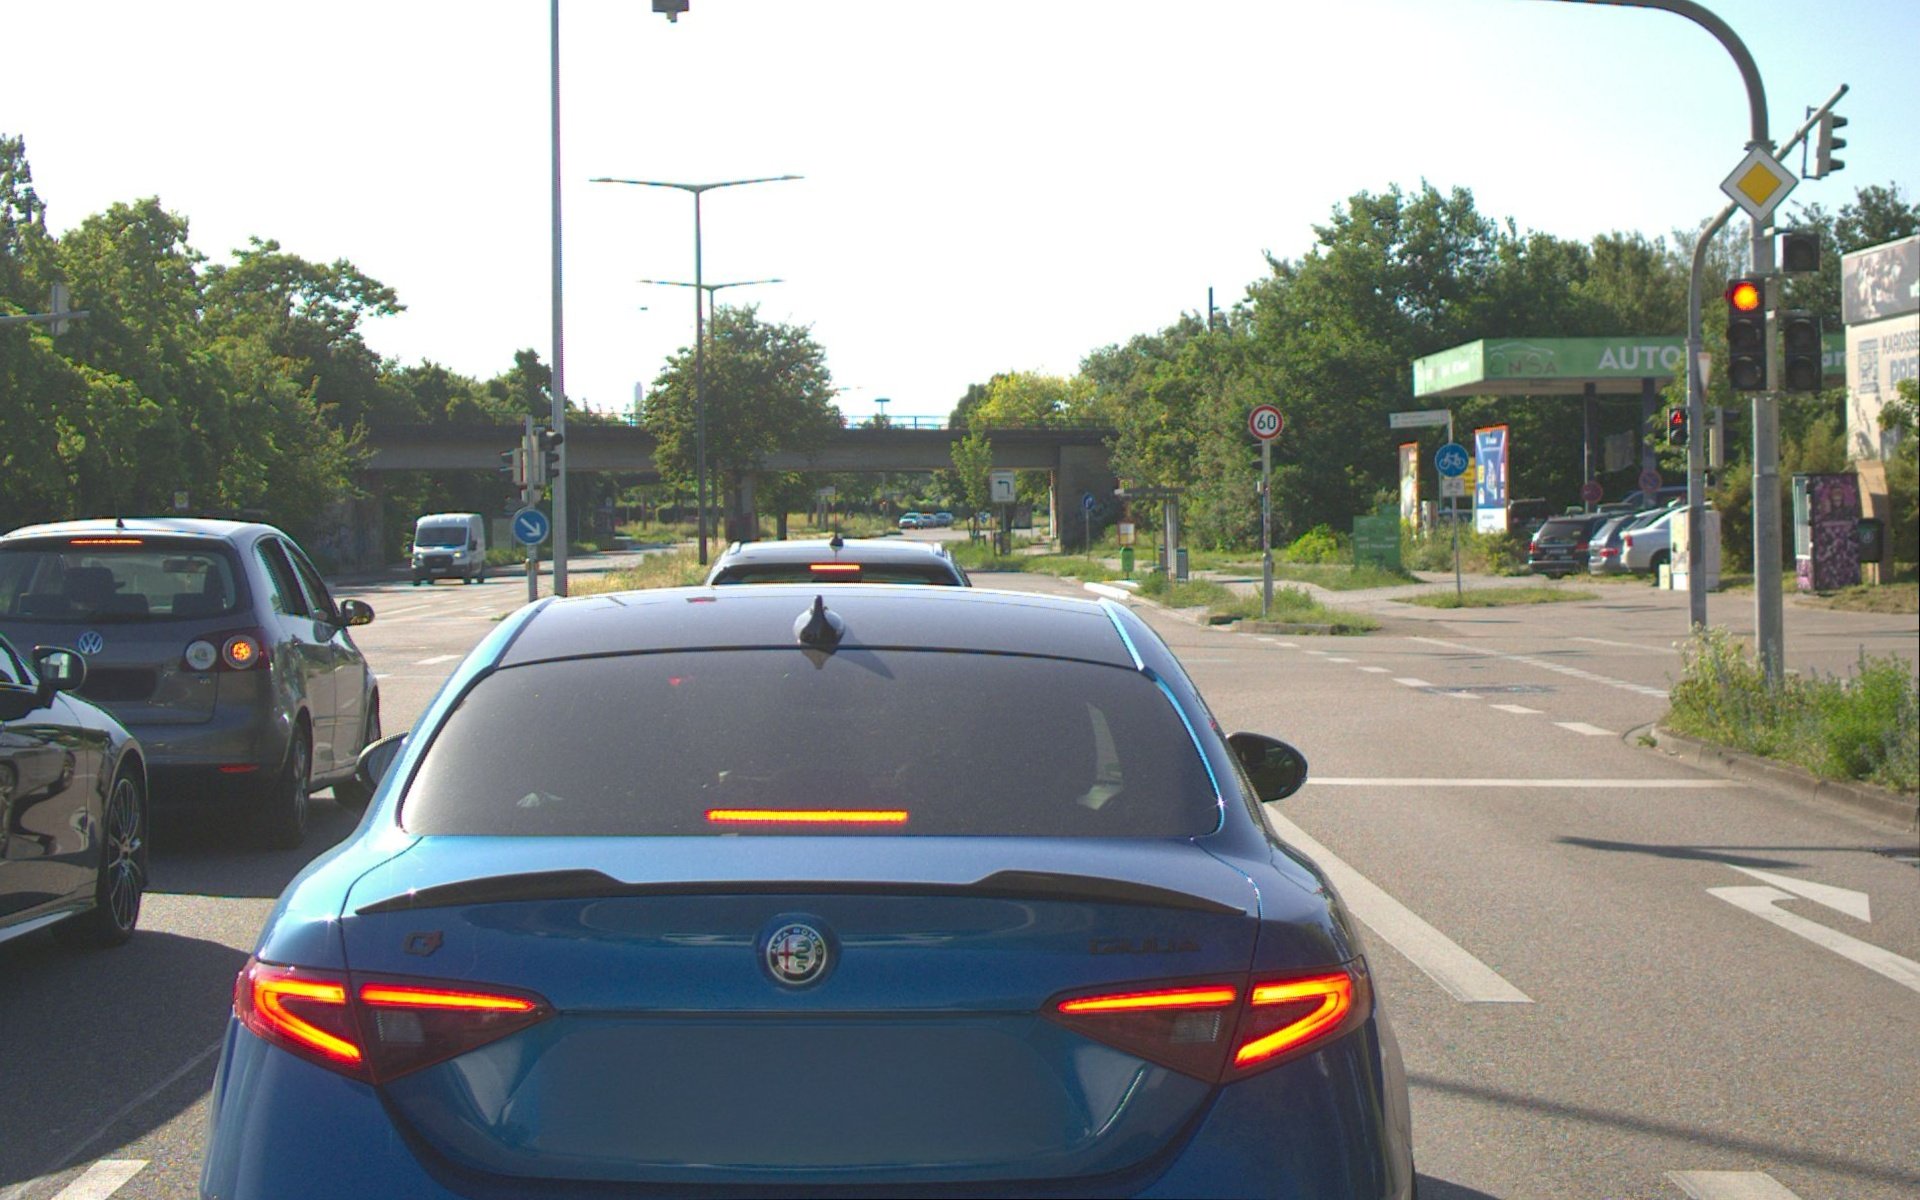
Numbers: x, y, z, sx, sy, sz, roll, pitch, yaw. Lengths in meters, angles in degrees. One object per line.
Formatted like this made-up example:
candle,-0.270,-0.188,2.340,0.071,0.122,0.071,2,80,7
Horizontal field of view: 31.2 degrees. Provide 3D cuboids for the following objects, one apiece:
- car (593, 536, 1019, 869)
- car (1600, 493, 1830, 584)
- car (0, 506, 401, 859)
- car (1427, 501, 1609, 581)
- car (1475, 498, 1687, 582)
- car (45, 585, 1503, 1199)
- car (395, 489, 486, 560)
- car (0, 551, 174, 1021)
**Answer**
car,-0.700,0.415,17.072,1.866,1.445,3.932,0,1,-1
car,14.510,-1.185,66.100,3.986,1.700,1.696,-1,1,-16
car,-3.984,0.334,17.551,1.648,1.593,3.932,0,1,-1
car,12.019,-1.276,74.147,3.483,1.700,1.696,-1,1,-16
car,12.819,-1.239,70.956,3.986,1.700,1.696,-1,1,-19
car,-0.262,0.701,6.377,1.866,1.380,3.932,0,1,-1
car,-18.107,-2.631,120.101,2.431,2.418,5.831,0,1,-2
car,-3.806,0.574,10.633,1.768,1.409,4.461,0,1,-1
